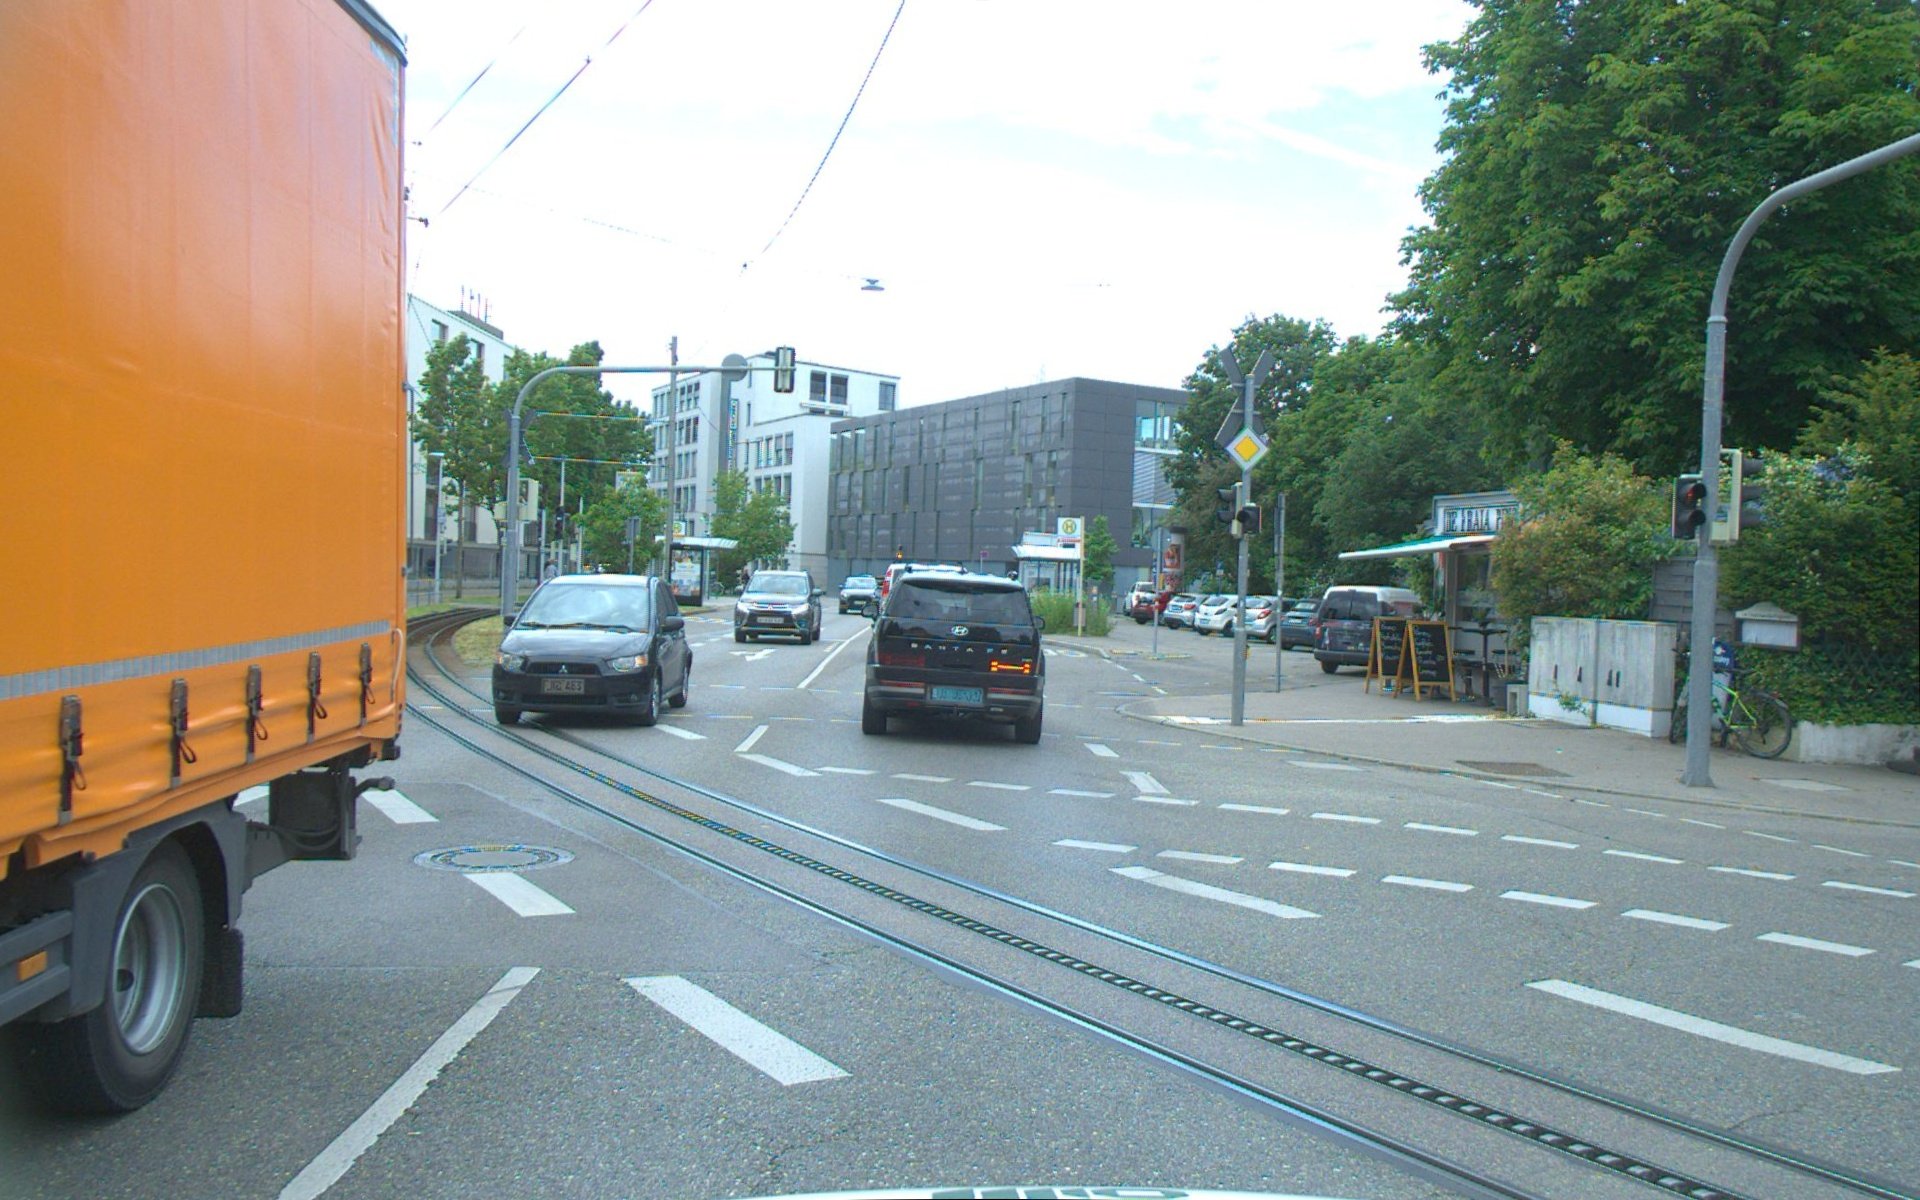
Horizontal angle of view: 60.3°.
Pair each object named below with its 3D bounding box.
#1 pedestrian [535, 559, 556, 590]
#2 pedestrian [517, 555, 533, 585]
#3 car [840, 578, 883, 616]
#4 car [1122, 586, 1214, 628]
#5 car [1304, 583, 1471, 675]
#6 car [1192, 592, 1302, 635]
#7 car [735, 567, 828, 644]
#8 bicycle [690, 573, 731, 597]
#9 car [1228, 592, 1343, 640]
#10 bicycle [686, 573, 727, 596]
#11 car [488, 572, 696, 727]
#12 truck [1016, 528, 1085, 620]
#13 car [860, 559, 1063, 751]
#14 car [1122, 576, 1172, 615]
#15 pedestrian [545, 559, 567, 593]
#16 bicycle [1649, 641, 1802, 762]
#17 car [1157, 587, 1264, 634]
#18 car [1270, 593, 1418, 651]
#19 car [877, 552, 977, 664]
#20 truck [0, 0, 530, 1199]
[{"bbox_3d":[-23.953,-1.454,95.591,0.900,1.749,0.906,2,0,-2],"label":"pedestrian"},{"bbox_3d":[-25.188,-1.723,95.766,0.601,1.724,0.785,3,0,-1],"label":"pedestrian"},{"bbox_3d":[-4.264,-0.152,71.918,1.704,1.586,4.182,1,0,-2],"label":"car"},{"bbox_3d":[8.646,0.290,68.674,3.453,1.480,1.665,4,0,-29],"label":"car"},{"bbox_3d":[9.194,0.569,35.311,1.815,1.779,4.676,2,1,36],"label":"car"},{"bbox_3d":[10.014,0.457,57.684,3.597,1.460,1.577,0,0,-28],"label":"car"},{"bbox_3d":[-4.186,0.106,39.309,1.752,1.690,4.276,1,1,-1],"label":"car"},{"bbox_3d":[-13.453,-0.811,89.330,2.056,1.125,0.631,3,0,1],"label":"bicycle"},{"bbox_3d":[10.349,0.508,52.525,3.471,1.401,1.531,1,3,-32],"label":"car"},{"bbox_3d":[-13.560,-0.821,88.607,2.056,1.125,0.631,3,0,0],"label":"bicycle"},{"bbox_3d":[-3.952,0.472,18.287,1.641,1.532,3.731,0,1,-3],"label":"car"},{"bbox_3d":[3.741,-1.078,69.887,2.520,3.586,7.811,2,1,1],"label":"truck"},{"bbox_3d":[-0.091,0.502,18.196,1.877,1.754,4.168,4,1,-3],"label":"car"},{"bbox_3d":[9.410,-0.227,83.452,1.953,1.870,4.517,1,0,-1],"label":"car"},{"bbox_3d":[-21.497,-1.256,87.967,0.900,1.749,0.906,2,0,-2],"label":"pedestrian"},{"bbox_3d":[9.014,1.173,19.569,0.538,1.158,1.873,2,4,-13],"label":"bicycle"},{"bbox_3d":[9.645,0.407,63.613,3.753,1.499,1.780,4,-1,-31],"label":"car"},{"bbox_3d":[10.951,0.638,47.105,3.950,1.503,1.859,2,0,-33],"label":"car"},{"bbox_3d":[-0.735,0.106,33.404,1.818,2.069,4.435,2,1,-3],"label":"car"},{"bbox_3d":[-3.325,-0.504,3.839,2.713,3.784,8.465,0,0,-2],"label":"truck"}]
